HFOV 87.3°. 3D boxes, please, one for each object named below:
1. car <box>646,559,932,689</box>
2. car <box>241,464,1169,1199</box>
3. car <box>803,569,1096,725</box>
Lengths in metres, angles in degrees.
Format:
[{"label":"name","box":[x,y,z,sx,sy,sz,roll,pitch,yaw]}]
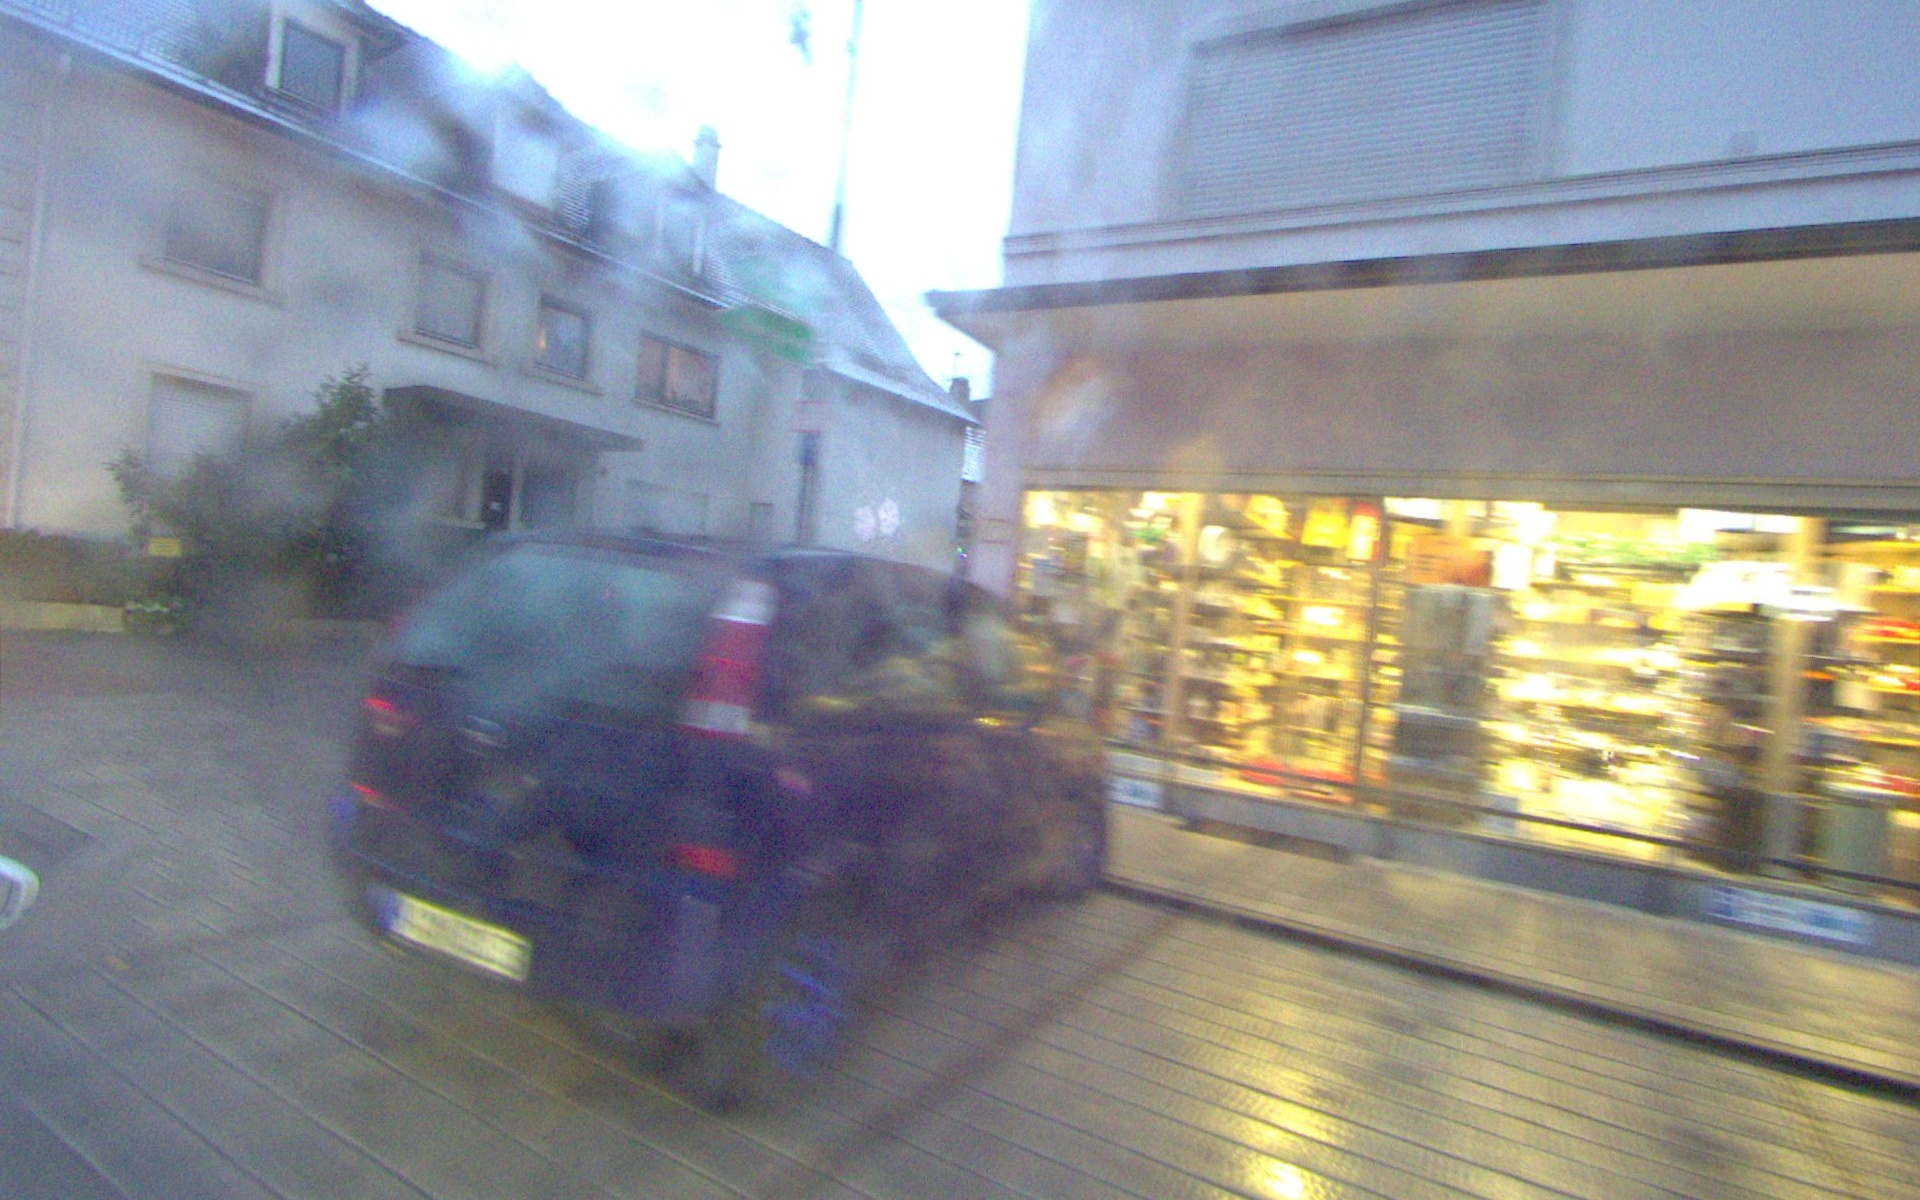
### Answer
[{"label":"car","box":[-2.383,0.407,14.984,1.905,1.543,3.990,6,0,33]},{"label":"car","box":[-0.482,0.577,4.354,1.652,1.599,3.878,6,0,26]},{"label":"car","box":[0.029,0.623,13.339,1.967,1.590,3.991,6,0,31]}]
